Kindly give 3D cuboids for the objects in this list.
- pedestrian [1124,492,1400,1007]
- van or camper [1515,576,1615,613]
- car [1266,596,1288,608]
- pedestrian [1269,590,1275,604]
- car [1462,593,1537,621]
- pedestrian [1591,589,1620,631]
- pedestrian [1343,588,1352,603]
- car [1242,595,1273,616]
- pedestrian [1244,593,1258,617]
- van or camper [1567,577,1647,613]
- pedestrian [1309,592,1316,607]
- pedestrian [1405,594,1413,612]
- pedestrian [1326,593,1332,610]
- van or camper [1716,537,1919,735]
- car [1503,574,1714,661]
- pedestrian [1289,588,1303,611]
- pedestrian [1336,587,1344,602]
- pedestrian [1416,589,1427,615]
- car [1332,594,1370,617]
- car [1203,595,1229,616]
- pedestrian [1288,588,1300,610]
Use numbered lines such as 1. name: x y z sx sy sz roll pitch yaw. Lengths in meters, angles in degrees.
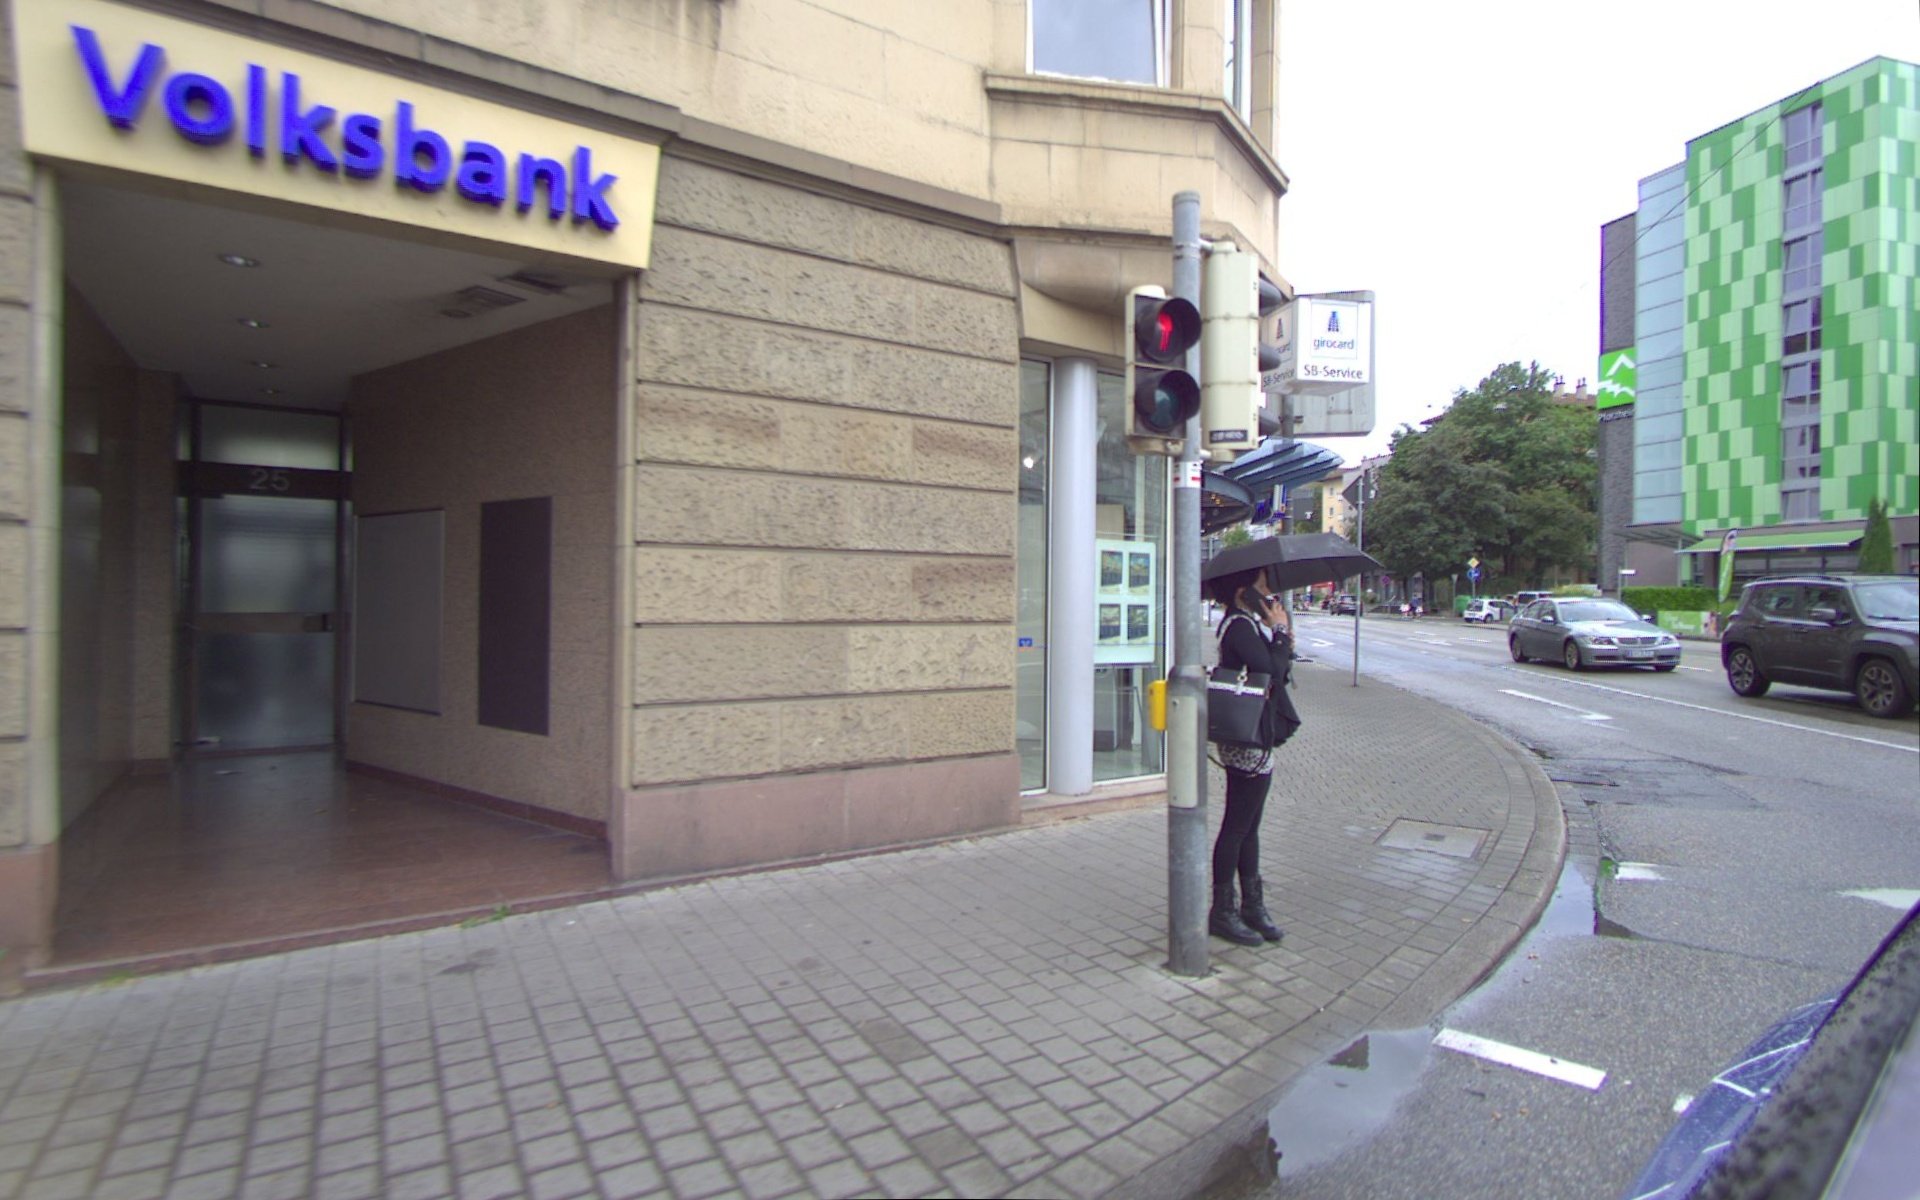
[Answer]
1. pedestrian: 1.350 0.551 4.462 1.048 1.928 1.017 0 0 22
2. van or camper: 36.902 -0.306 61.826 4.868 2.041 2.000 -1 -5 -5
3. car: 39.136 0.194 125.002 1.988 1.444 4.485 0 0 11
4. pedestrian: 43.425 -0.419 140.983 0.691 2.039 0.781 0 1 7
5. car: 32.182 0.440 60.435 3.516 1.590 1.742 -1 -2 -7
6. pedestrian: 26.842 0.402 42.077 0.733 1.706 0.754 1 0 -33
7. pedestrian: 42.590 -0.518 111.167 0.710 1.699 0.789 0 0 39
8. car: 25.303 0.453 86.084 1.839 1.677 4.166 0 0 26
9. pedestrian: 22.775 0.407 79.305 0.708 1.849 0.856 0 -1 -11
10. van or camper: 45.175 -0.341 70.679 4.521 2.295 2.216 -2 0 -18
11. pedestrian: 42.209 -0.054 121.080 0.580 1.842 0.870 0 0 3
12. pedestrian: 31.249 0.210 70.404 0.403 1.213 0.310 0 0 5
13. pedestrian: 37.885 0.136 103.985 0.491 1.694 0.551 0 0 8
14. van or camper: 11.671 0.379 12.599 1.829 2.173 4.133 0 0 8
15. car: 12.693 0.371 20.182 1.775 1.483 4.359 -3 -2 8
16. pedestrian: 26.842 -0.052 80.837 0.845 1.868 0.695 0 0 -3
17. pedestrian: 42.197 -0.636 112.457 0.704 1.699 0.711 0 0 11
18. pedestrian: 32.040 0.144 70.260 0.565 1.784 0.580 0 0 5
19. car: 29.925 0.430 77.506 1.923 1.680 4.046 0 0 10
20. car: 25.037 0.516 99.165 1.965 2.039 3.993 0 0 6
21. pedestrian: 26.930 -0.063 81.578 0.644 1.781 0.722 0 0 -7
